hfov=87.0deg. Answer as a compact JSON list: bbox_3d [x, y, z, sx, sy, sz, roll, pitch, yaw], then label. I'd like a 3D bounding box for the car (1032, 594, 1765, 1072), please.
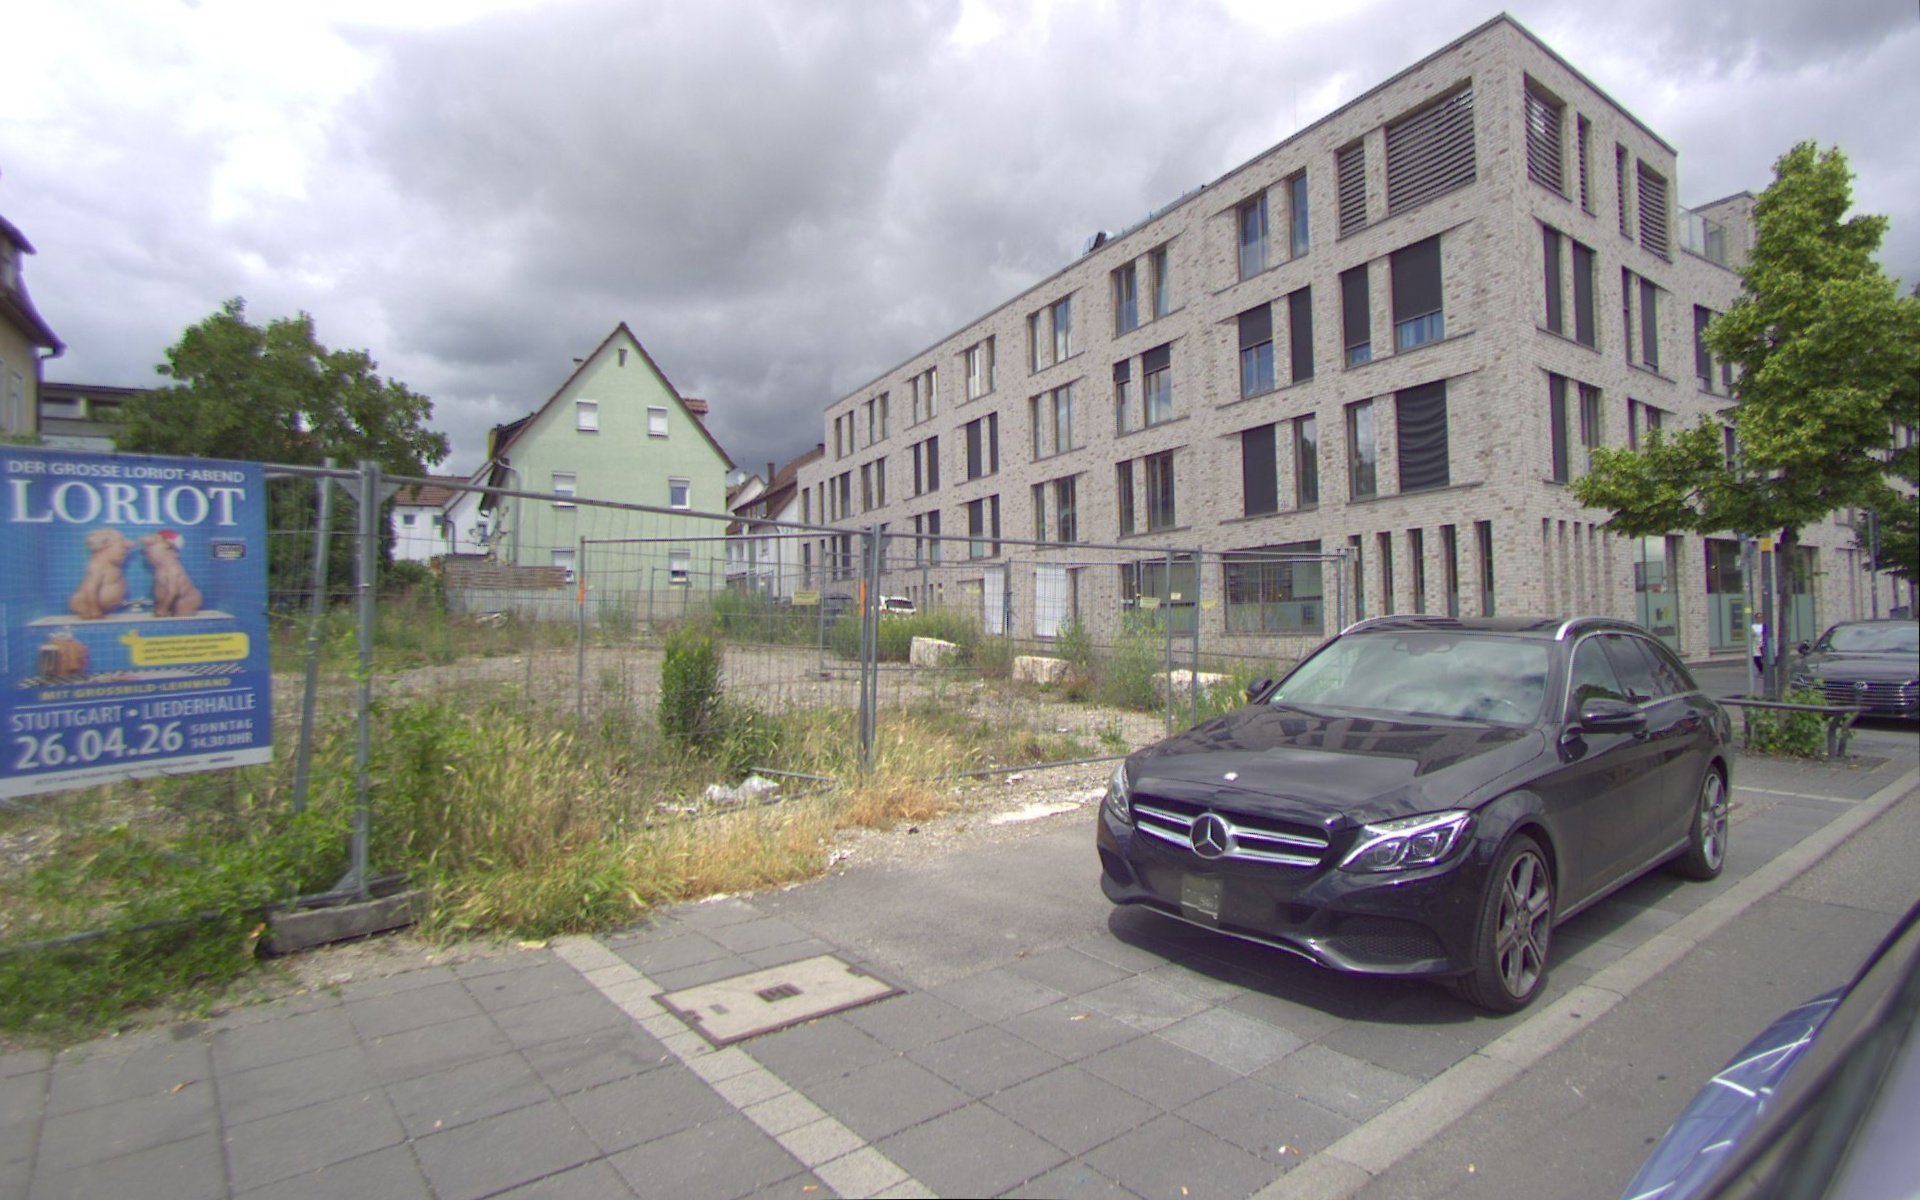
[{"bbox_3d":[2.553,0.739,5.257,4.398,1.470,1.784,1,-1,-41],"label":"car"}]

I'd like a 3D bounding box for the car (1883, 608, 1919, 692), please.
[{"bbox_3d":[18.922,0.897,18.996,4.070,1.480,1.696,0,-1,-38],"label":"car"}]

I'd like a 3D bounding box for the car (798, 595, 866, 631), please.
[{"bbox_3d":[-6.257,0.613,49.129,1.959,1.572,4.006,3,-1,-27],"label":"car"}]

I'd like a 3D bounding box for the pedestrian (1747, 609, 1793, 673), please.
[{"bbox_3d":[19.353,0.960,24.177,0.775,1.491,0.609,1,-2,-31],"label":"pedestrian"}]

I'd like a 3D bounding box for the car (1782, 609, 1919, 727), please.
[{"bbox_3d":[13.596,0.871,14.548,4.560,1.469,1.868,0,-1,-39],"label":"car"}]

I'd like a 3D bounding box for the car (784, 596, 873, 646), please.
[{"bbox_3d":[-4.664,0.694,35.393,1.830,1.626,4.268,1,0,-25],"label":"car"}]

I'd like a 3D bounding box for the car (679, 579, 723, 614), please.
[{"bbox_3d":[-19.059,-0.264,74.390,1.959,2.362,5.081,3,-1,-27],"label":"car"}]

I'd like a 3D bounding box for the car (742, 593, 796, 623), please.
[{"bbox_3d":[-11.103,0.437,58.564,1.959,1.572,4.006,3,-1,-27],"label":"car"}]

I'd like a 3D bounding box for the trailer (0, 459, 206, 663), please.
[{"bbox_3d":[-15.865,-0.561,18.604,2.363,3.162,6.166,0,-1,-29],"label":"trailer"}]

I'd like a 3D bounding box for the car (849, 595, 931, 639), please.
[{"bbox_3d":[-3.013,0.688,42.762,1.830,1.626,4.268,4,-1,-27],"label":"car"}]
